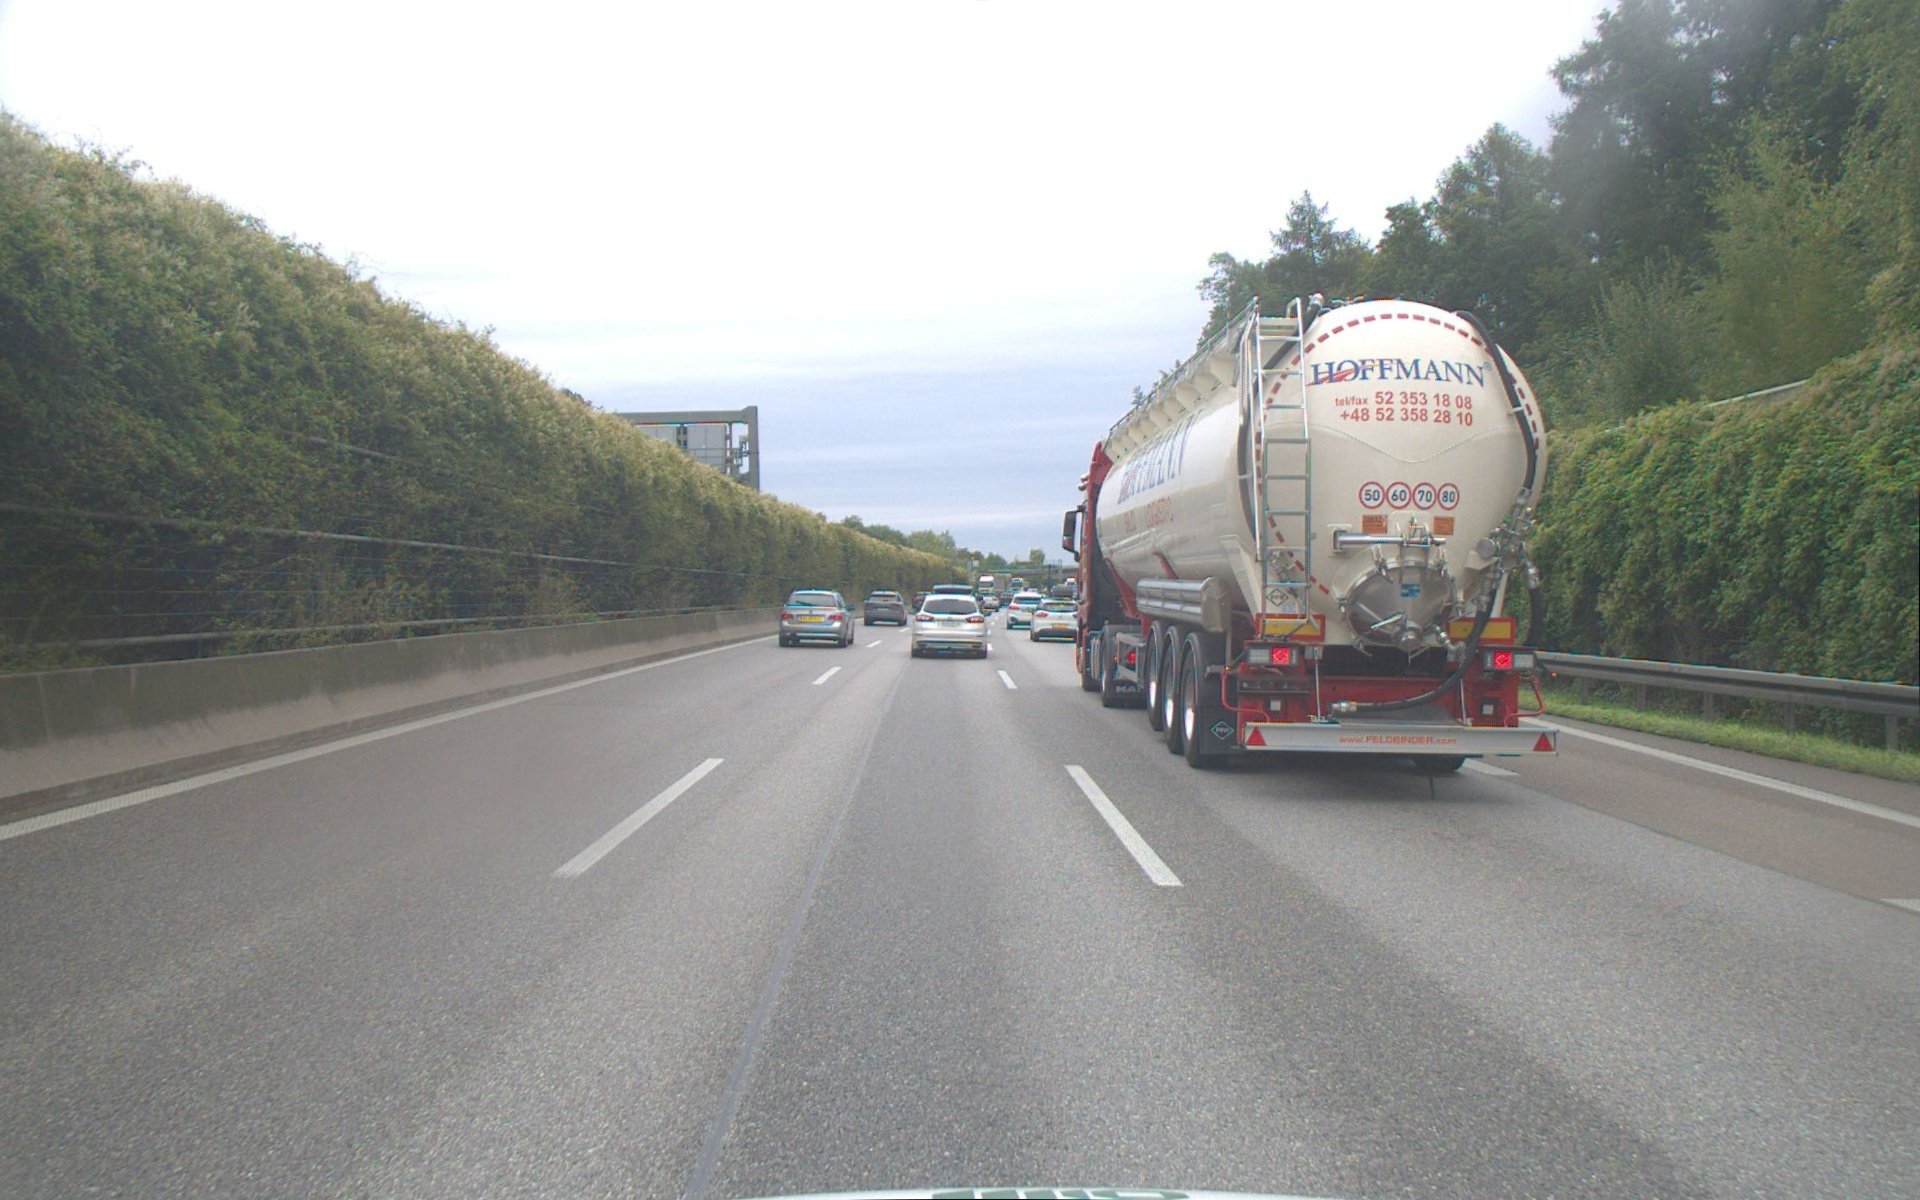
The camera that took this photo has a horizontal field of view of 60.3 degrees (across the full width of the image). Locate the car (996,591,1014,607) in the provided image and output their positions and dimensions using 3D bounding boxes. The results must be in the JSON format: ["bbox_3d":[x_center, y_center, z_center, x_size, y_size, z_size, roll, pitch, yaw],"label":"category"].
[{"bbox_3d":[4.408,-0.090,161.064,1.653,1.566,3.873,0,1,3],"label":"car"}]

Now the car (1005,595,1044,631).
[{"bbox_3d":[2.830,0.546,72.793,1.654,1.533,3.872,0,0,1],"label":"car"}]

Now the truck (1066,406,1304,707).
[{"bbox_3d":[3.200,-0.578,25.270,2.640,3.981,6.555,0,0,-1],"label":"truck"}]

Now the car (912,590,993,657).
[{"bbox_3d":[-0.158,0.523,40.353,1.853,1.530,5.030,0,0,0],"label":"car"}]

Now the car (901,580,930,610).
[{"bbox_3d":[-3.092,-0.361,114.072,1.953,2.049,3.840,0,0,-2],"label":"car"}]

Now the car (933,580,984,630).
[{"bbox_3d":[-0.056,0.138,58.968,1.655,1.532,3.871,4,2,-1],"label":"car"}]

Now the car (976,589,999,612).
[{"bbox_3d":[2.210,0.022,131.926,1.753,1.811,3.872,0,0,2],"label":"car"}]

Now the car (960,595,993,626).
[{"bbox_3d":[0.841,0.499,84.652,1.654,1.533,3.871,0,0,0],"label":"car"}]

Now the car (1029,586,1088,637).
[{"bbox_3d":[3.257,0.357,55.481,1.778,1.654,5.031,0,0,1],"label":"car"}]

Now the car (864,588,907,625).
[{"bbox_3d":[-3.260,0.260,72.901,1.685,1.538,5.029,0,0,-1],"label":"car"}]

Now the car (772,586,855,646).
[{"bbox_3d":[-3.933,0.403,45.143,1.684,1.494,5.031,1,1,1],"label":"car"}]

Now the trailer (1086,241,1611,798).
[{"bbox_3d":[3.315,-0.568,18.535,2.614,4.008,13.127,0,0,-1],"label":"trailer"}]
